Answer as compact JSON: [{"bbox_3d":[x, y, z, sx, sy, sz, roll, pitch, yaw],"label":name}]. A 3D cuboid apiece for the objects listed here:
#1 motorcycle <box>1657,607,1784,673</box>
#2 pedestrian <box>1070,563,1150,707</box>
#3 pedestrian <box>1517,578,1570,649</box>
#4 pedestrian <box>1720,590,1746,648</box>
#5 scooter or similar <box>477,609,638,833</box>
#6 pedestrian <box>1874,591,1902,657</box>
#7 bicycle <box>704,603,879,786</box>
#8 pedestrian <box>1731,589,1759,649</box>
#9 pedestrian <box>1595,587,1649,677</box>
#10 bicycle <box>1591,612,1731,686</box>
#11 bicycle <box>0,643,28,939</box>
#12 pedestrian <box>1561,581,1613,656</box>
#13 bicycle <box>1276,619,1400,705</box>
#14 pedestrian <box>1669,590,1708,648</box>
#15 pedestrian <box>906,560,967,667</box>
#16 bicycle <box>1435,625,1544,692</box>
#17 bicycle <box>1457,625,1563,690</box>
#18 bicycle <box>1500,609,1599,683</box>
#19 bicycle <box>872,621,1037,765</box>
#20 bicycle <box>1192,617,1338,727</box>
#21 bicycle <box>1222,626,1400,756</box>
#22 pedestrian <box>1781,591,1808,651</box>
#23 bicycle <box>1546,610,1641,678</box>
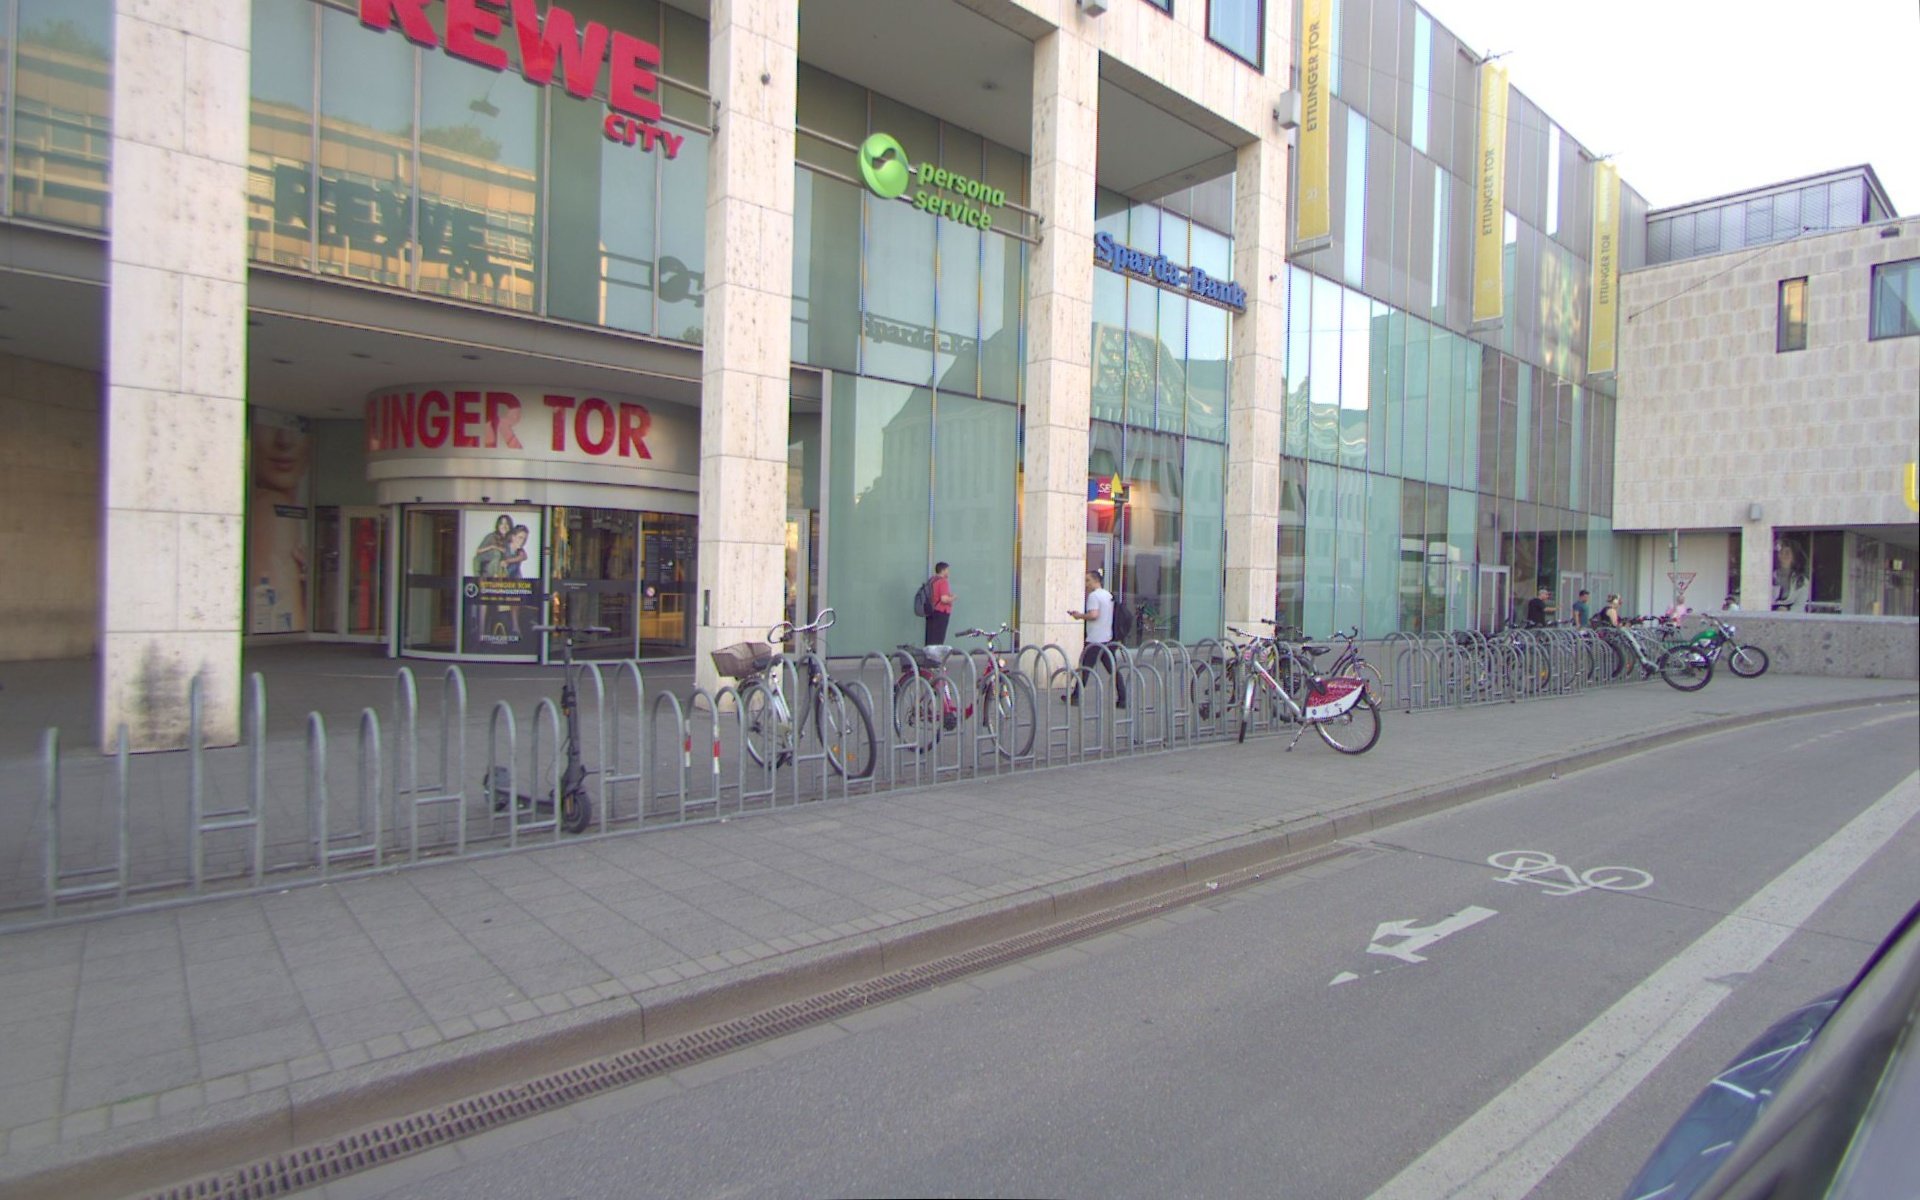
[{"bbox_3d":[15.577,0.792,20.774,0.472,1.239,2.004,1,1,-43],"label":"motorcycle"},{"bbox_3d":[1.842,0.406,12.465,0.618,1.713,0.707,1,1,-39],"label":"pedestrian"},{"bbox_3d":[14.149,0.325,24.539,0.803,1.668,0.742,1,1,-25],"label":"pedestrian"},{"bbox_3d":[24.161,0.592,31.628,0.539,1.765,0.494,1,1,-38],"label":"pedestrian"},{"bbox_3d":[-2.521,0.685,6.284,0.484,1.214,1.194,1,1,-44],"label":"scooter or similar"},{"bbox_3d":[25.490,0.650,27.797,0.483,1.765,0.455,1,1,-38],"label":"pedestrian"},{"bbox_3d":[-1.309,0.657,7.676,0.607,1.243,1.517,1,-2,-41],"label":"bicycle"},{"bbox_3d":[23.605,0.573,30.432,0.644,1.765,0.494,1,1,-38],"label":"pedestrian"},{"bbox_3d":[12.731,0.598,19.482,0.802,1.663,0.640,2,1,31],"label":"pedestrian"},{"bbox_3d":[11.564,0.783,16.753,0.458,1.161,1.837,1,-2,-39],"label":"bicycle"},{"bbox_3d":[-4.558,0.769,4.487,1.768,1.092,0.475,3,1,43],"label":"bicycle"},{"bbox_3d":[14.824,0.430,23.930,0.803,1.717,0.700,1,1,-26],"label":"pedestrian"},{"bbox_3d":[5.010,0.800,13.459,1.439,1.078,0.572,-1,-2,39],"label":"bicycle"},{"bbox_3d":[22.443,0.572,31.200,0.644,1.765,0.794,1,1,-38],"label":"pedestrian"},{"bbox_3d":[-0.380,0.205,16.267,0.695,1.672,0.629,1,1,-40],"label":"pedestrian"},{"bbox_3d":[7.943,0.857,15.215,0.509,0.944,1.344,1,-2,-41],"label":"bicycle"},{"bbox_3d":[8.453,0.869,15.594,0.509,0.944,1.344,1,-2,-41],"label":"bicycle"},{"bbox_3d":[9.829,0.749,16.904,0.509,1.179,1.344,1,-2,-41],"label":"bicycle"},{"bbox_3d":[-0.078,0.743,8.679,0.543,1.120,1.516,1,-2,-43],"label":"bicycle"},{"bbox_3d":[3.376,0.765,11.319,0.569,1.138,1.519,1,-1,-36],"label":"bicycle"},{"bbox_3d":[3.168,0.785,9.256,0.458,1.077,1.518,1,-2,-39],"label":"bicycle"},{"bbox_3d":[25.053,0.620,30.386,0.483,1.765,0.504,1,1,-38],"label":"pedestrian"},{"bbox_3d":[11.392,0.779,18.228,0.509,1.179,1.344,1,-2,-41],"label":"bicycle"}]
